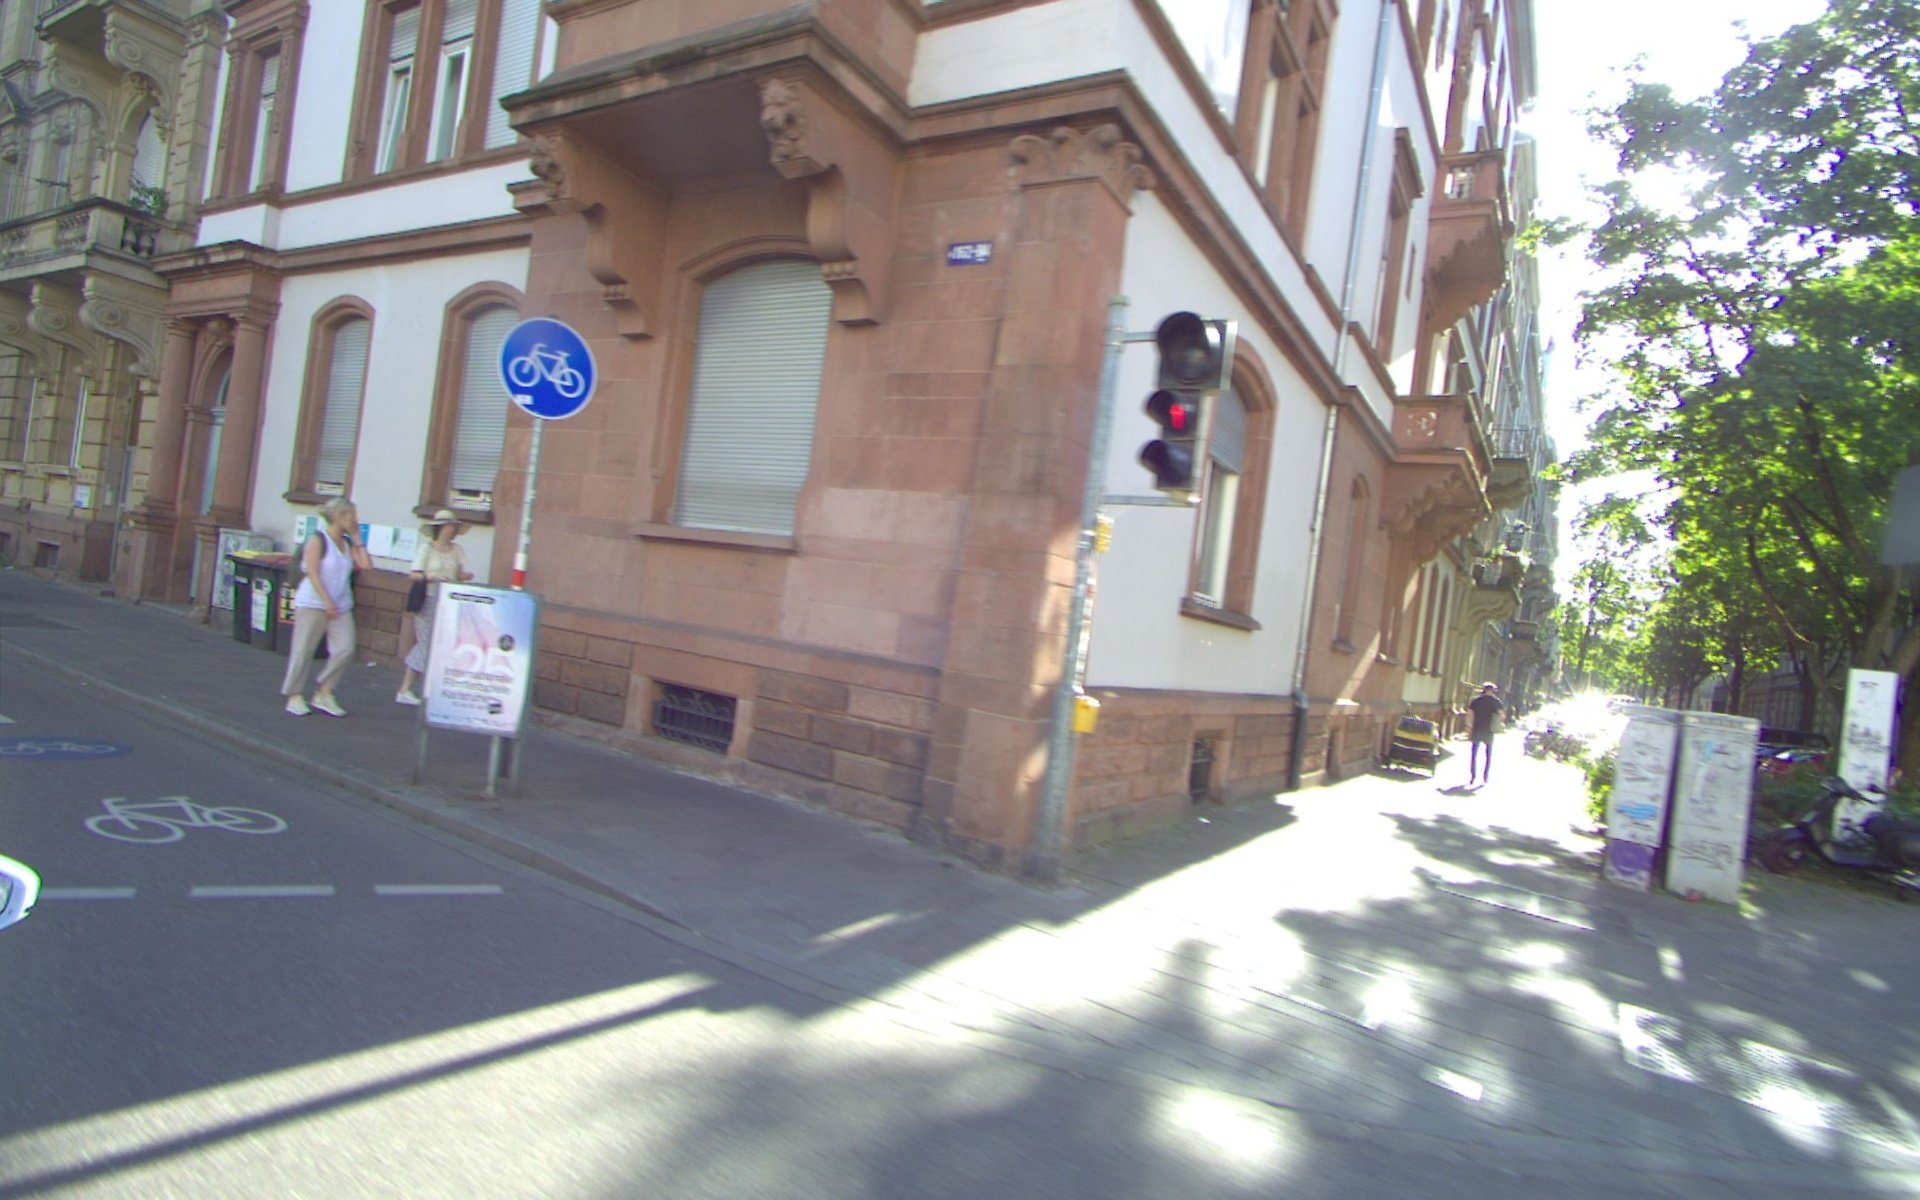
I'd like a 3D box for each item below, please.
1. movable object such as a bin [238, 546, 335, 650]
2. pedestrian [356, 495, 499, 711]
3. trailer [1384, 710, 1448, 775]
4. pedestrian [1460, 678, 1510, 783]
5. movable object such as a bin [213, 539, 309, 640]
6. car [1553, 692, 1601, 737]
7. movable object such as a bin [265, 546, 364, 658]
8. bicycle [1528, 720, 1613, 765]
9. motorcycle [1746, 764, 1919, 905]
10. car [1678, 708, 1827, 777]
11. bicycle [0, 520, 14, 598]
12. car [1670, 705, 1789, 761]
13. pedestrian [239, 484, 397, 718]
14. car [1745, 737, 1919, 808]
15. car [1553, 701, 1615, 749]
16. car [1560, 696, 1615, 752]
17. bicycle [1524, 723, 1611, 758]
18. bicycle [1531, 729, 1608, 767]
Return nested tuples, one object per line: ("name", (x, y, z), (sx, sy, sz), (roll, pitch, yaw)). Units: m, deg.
("movable object such as a bin", (-7.731, -0.015, 11.565), (0.561, 1.090, 0.666), (8, 1, 31))
("pedestrian", (-4.741, 0.038, 8.972), (0.661, 1.804, 0.706), (7, 0, 30))
("trailer", (7.835, 2.431, 17.284), (0.818, 0.935, 0.781), (9, 1, 30))
("pedestrian", (9.078, 2.252, 17.405), (0.566, 1.701, 0.538), (8, -1, 29))
("movable object such as a bin", (-8.263, -0.113, 11.902), (0.561, 1.090, 0.667), (8, 1, 31))
("car", (30.403, 5.631, 49.527), (1.715, 1.885, 3.991), (7, -1, 33))
("movable object such as a bin", (-7.226, 0.029, 11.272), (0.584, 1.169, 0.666), (8, 2, 31))
("bicycle", (19.558, 4.545, 32.266), (2.127, 0.899, 1.013), (12, 3, 38))
("motorcycle", (9.863, 2.545, 10.568), (2.350, 1.138, 0.612), (9, 1, 31))
("car", (29.328, 5.253, 37.341), (3.924, 1.886, 1.638), (6, 1, 5))
("bicycle", (-12.730, -0.615, 12.723), (1.732, 0.959, 0.432), (7, 0, 25))
("car", (35.879, 6.204, 46.978), (3.929, 1.885, 2.002), (8, -1, -4))
("pedestrian", (-5.093, 0.014, 7.998), (0.670, 1.722, 0.628), (8, 0, 23))
("car", (27.904, 5.479, 32.122), (4.100, 1.449, 1.639), (8, 0, 5))
("car", (23.102, 4.605, 37.185), (1.537, 1.445, 3.797), (7, -1, 36))
("car", (26.146, 5.116, 41.922), (1.611, 1.885, 3.992), (11, 1, 33))
("bicycle", (18.616, 4.287, 30.844), (2.128, 0.658, 1.013), (7, -1, 38))
("bicycle", (20.346, 4.910, 33.603), (2.022, 0.741, 1.013), (12, 2, 37))
